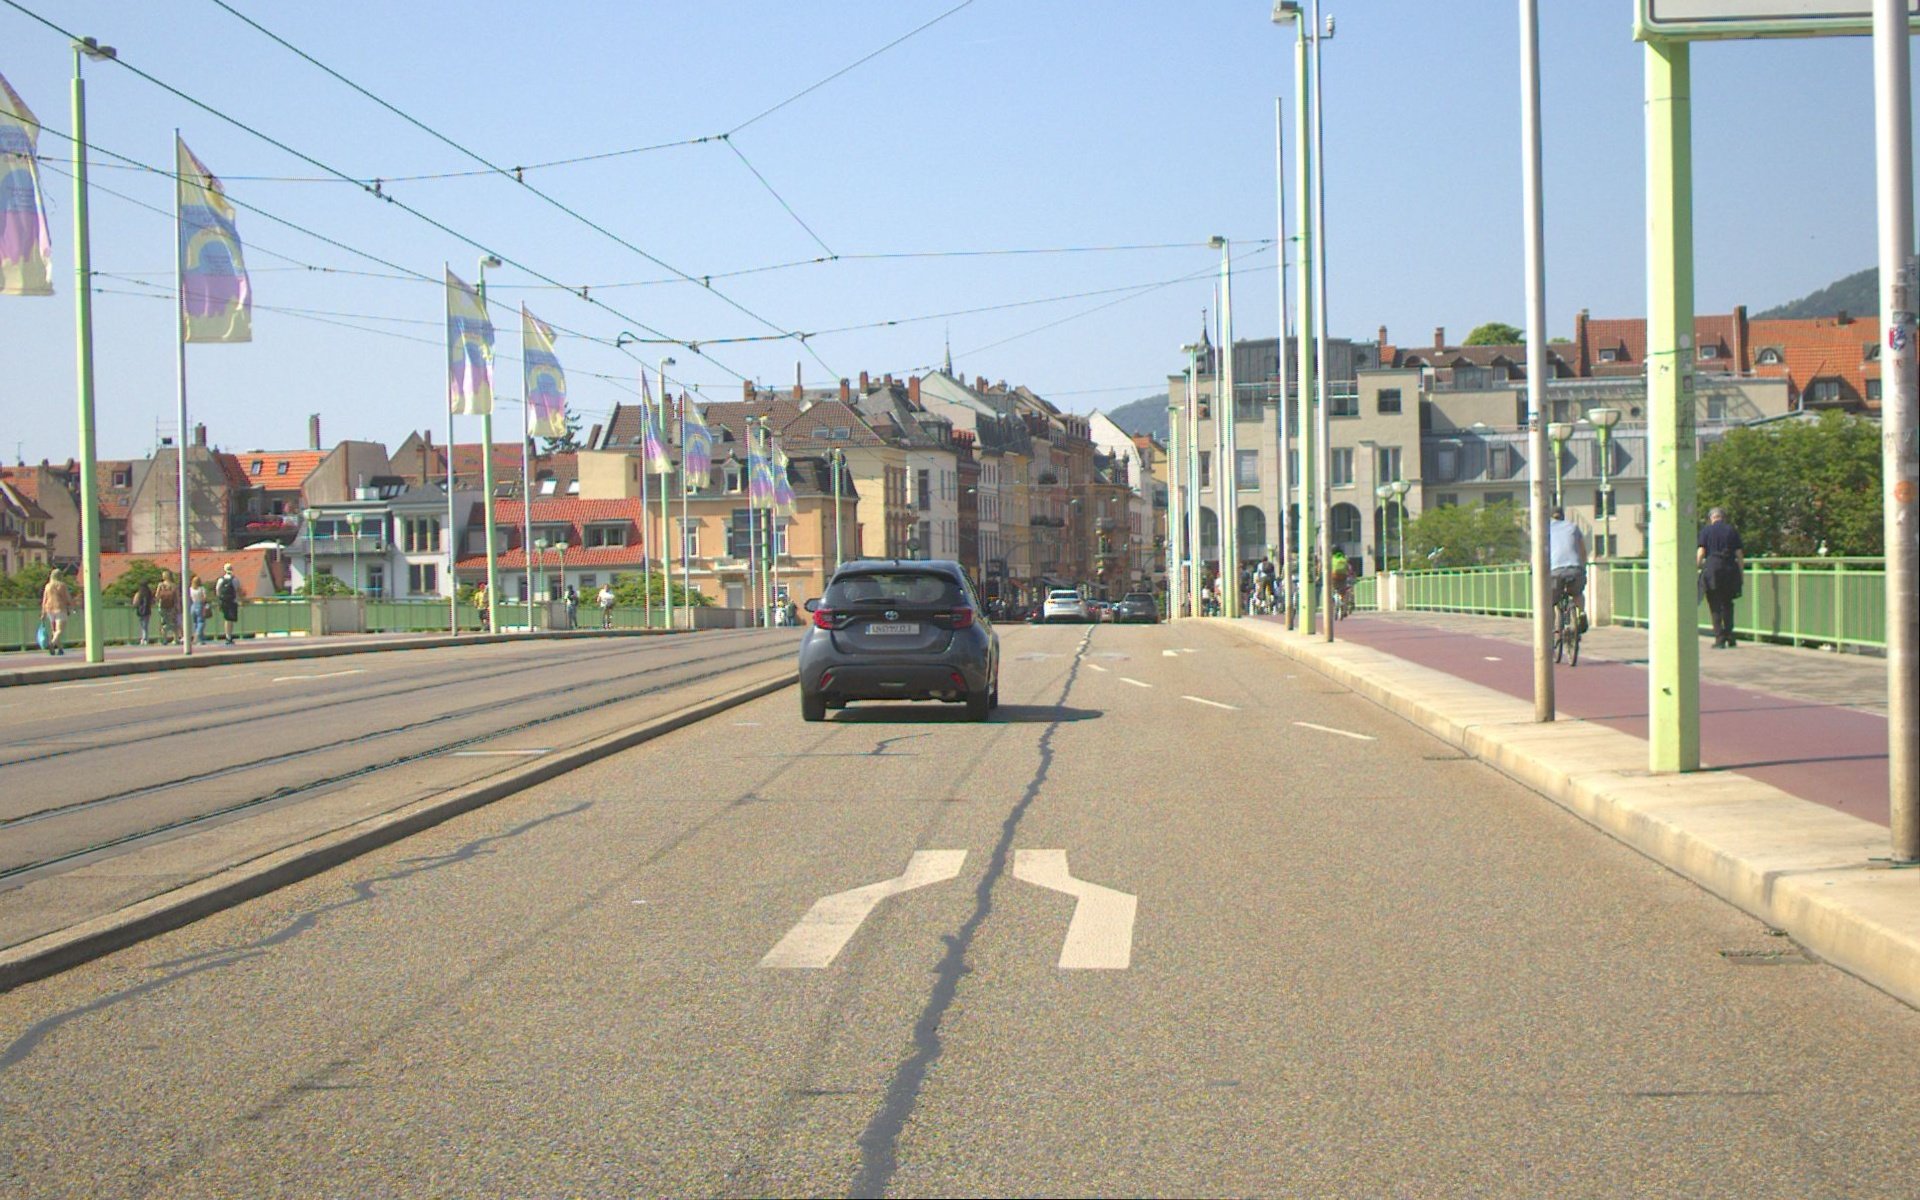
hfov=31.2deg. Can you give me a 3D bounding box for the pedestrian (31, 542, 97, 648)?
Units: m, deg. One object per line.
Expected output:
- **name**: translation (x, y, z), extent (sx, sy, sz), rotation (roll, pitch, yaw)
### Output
- **pedestrian**: translation (-17.225, -0.106, 66.115), extent (0.968, 2.007, 1.101), rotation (-1, 1, -3)

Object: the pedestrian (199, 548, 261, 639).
- **pedestrian**: translation (-16.470, -0.151, 77.573), extent (1.097, 2.007, 1.295), rotation (-1, 1, 0)

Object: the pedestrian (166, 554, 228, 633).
- **pedestrian**: translation (-17.096, -0.157, 77.066), extent (1.097, 1.723, 1.295), rotation (1, 1, 0)

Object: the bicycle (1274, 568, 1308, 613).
- **bicycle**: translation (7.895, -0.230, 82.070), extent (0.618, 1.034, 2.051), rotation (-1, 0, 1)

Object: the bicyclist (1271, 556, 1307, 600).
- **bicyclist**: translation (7.853, -0.528, 82.071), extent (0.735, 1.027, 1.175), rotation (-1, 0, 1)

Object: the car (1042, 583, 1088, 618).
- **car**: translation (4.587, 0.016, 150.764), extent (1.804, 1.464, 4.000), rotation (-3, 0, 0)

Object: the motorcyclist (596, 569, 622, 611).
- **motorcyclist**: translation (-13.230, -0.376, 129.676), extent (0.800, 1.544, 1.069), rotation (-1, 0, 2)

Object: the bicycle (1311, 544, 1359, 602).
- **bicycle**: translation (8.071, -0.575, 74.076), extent (0.695, 1.189, 2.079), rotation (-2, 0, -2)

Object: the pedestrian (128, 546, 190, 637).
- **pedestrian**: translation (-18.044, -0.194, 77.426), extent (1.097, 2.007, 1.129), rotation (-1, 1, 0)

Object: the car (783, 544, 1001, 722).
- **car**: translation (-0.605, 0.261, 32.789), extent (1.910, 1.535, 4.000), rotation (-2, 1, 0)

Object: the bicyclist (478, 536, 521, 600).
- **bicyclist**: translation (-14.383, -1.003, 107.476), extent (1.097, 1.954, 1.129), rotation (3, 1, 0)

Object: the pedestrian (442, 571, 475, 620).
- **pedestrian**: translation (-17.194, -0.166, 117.803), extent (0.899, 1.652, 1.028), rotation (-1, 0, 5)

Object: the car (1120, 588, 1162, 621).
- **car**: translation (8.571, 0.197, 162.382), extent (1.804, 1.464, 3.999), rotation (-3, 0, 5)

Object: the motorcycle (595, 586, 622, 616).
- **motorcycle**: translation (-13.244, 0.027, 129.658), extent (0.701, 1.106, 2.179), rotation (-1, 0, 2)

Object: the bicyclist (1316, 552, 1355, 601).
- **bicyclist**: translation (8.096, -0.499, 74.071), extent (0.666, 1.041, 0.980), rotation (-1, 0, -3)

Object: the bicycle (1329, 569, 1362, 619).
- **bicycle**: translation (10.000, -0.150, 89.184), extent (0.618, 1.266, 2.216), rotation (-1, 0, 1)

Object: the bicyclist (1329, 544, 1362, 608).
- **bicyclist**: translation (9.995, -0.625, 89.071), extent (0.735, 1.630, 0.867), rotation (-1, 0, 1)

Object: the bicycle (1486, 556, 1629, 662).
- **bicycle**: translation (6.582, 0.075, 38.079), extent (0.792, 1.092, 3.745), rotation (-2, 1, -2)

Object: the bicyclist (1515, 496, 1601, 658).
- **bicyclist**: translation (6.579, -0.258, 37.873), extent (0.673, 1.738, 1.150), rotation (-2, 0, -2)

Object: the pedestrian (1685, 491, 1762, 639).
- **pedestrian**: translation (9.145, -0.429, 41.191), extent (0.654, 1.738, 0.978), rotation (-1, 2, -3)

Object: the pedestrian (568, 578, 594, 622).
- **pedestrian**: translation (-15.033, -0.005, 136.323), extent (0.830, 1.716, 1.094), rotation (-1, 0, 3)
